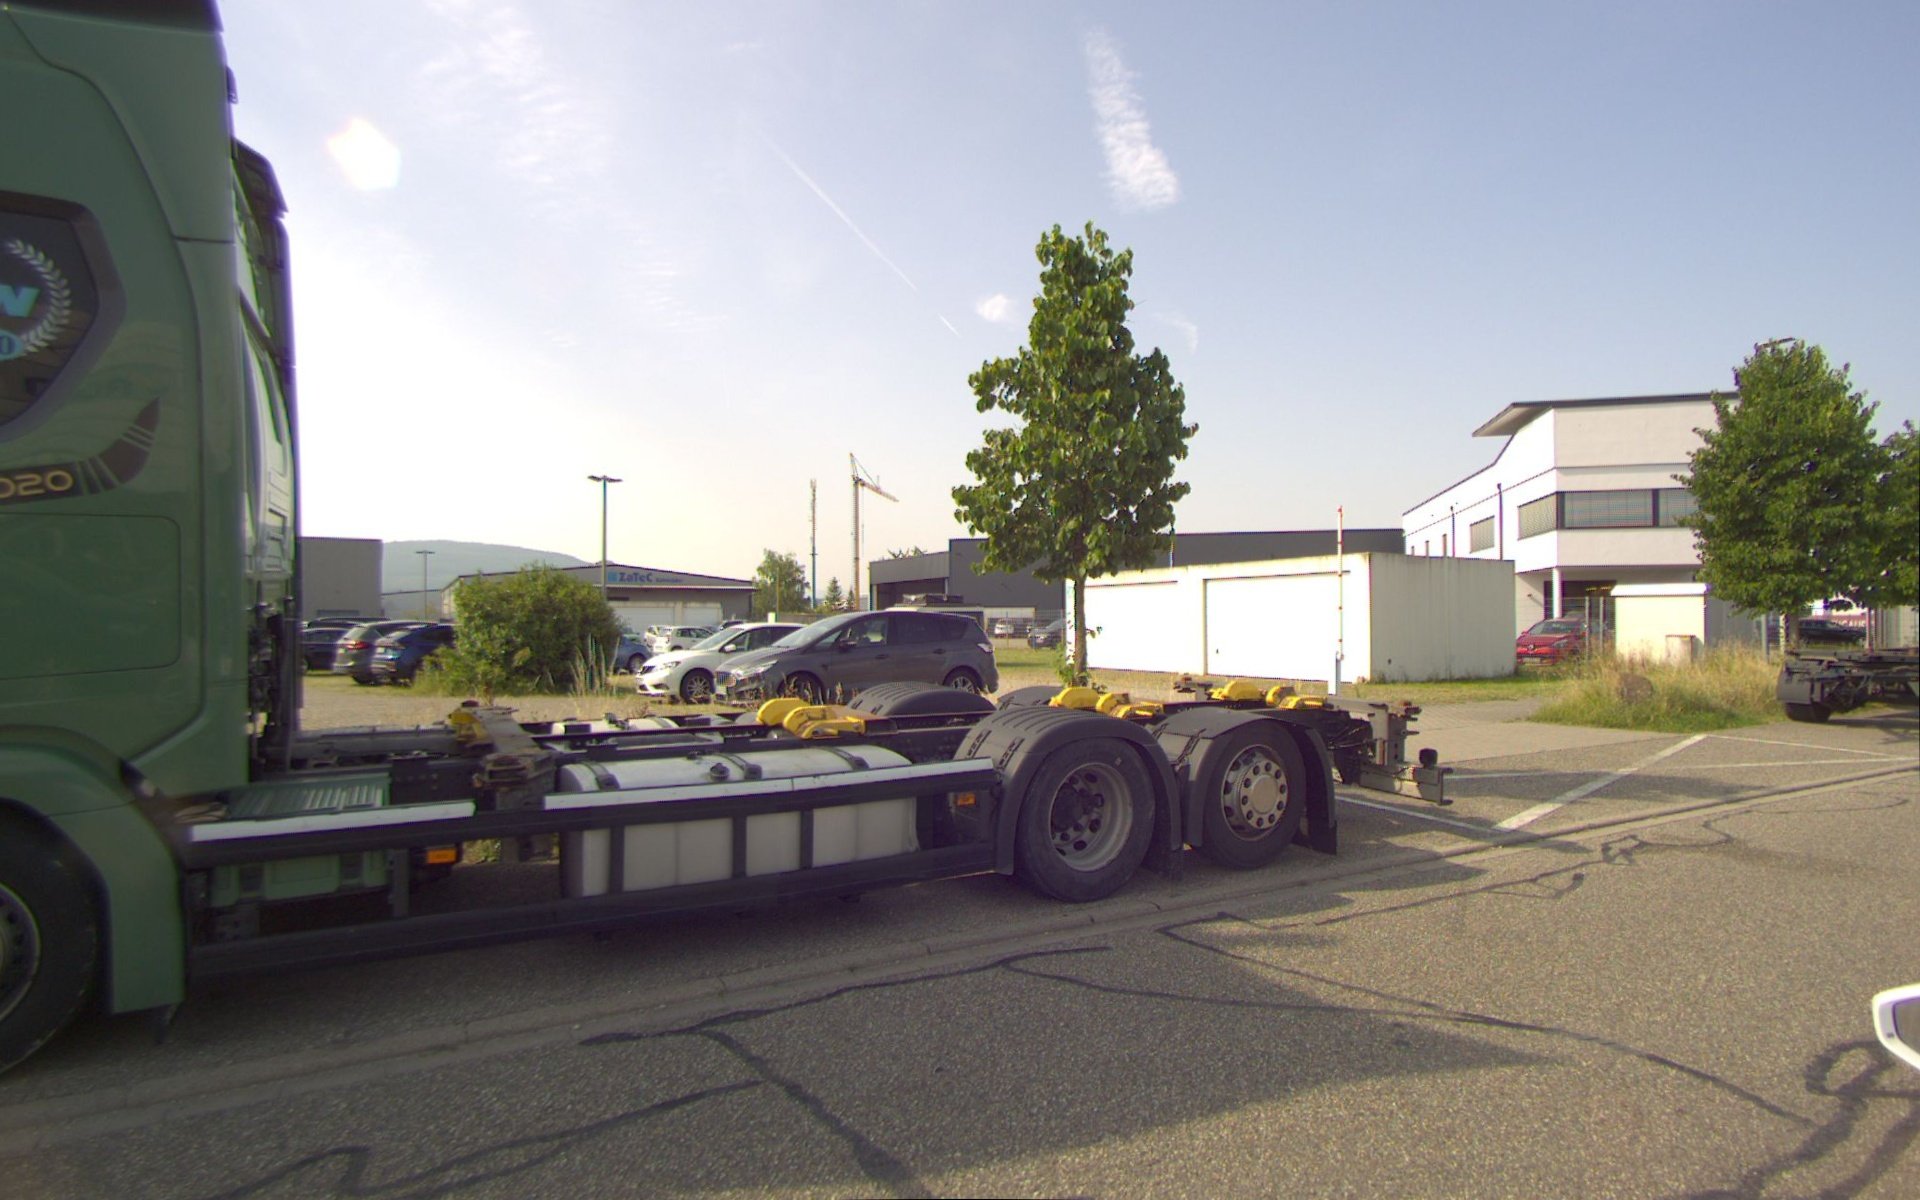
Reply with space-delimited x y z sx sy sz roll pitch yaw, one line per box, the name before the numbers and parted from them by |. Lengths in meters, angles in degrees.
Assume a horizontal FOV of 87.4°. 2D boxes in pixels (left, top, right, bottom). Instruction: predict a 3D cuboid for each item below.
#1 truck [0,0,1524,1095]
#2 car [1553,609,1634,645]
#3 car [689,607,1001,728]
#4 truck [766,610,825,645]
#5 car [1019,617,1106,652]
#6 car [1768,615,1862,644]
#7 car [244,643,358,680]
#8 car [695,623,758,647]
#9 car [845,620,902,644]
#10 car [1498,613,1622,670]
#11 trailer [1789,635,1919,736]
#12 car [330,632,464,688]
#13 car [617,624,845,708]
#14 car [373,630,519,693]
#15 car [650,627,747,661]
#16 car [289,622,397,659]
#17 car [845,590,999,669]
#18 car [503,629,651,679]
truck | -0.805 -0.346 5.831 9.685 3.933 2.444 1 0 -30
car | 27.433 1.161 43.639 1.831 1.507 4.002 0 -1 15
car | -1.808 1.004 16.272 4.647 1.709 1.983 0 -2 -32
truck | -12.166 2.035 74.279 3.946 2.547 1.988 0 -1 -26
car | 5.502 1.817 53.704 4.410 1.751 1.971 0 -1 -35
car | 44.802 1.534 52.699 3.433 1.473 1.598 1 -1 12
car | -19.198 1.773 29.287 2.691 1.007 1.078 1 -3 -40
car | -16.474 2.441 70.855 3.950 1.664 1.858 0 -1 -29
car | -6.602 2.449 76.924 3.948 1.792 1.859 0 -1 -27
car | 18.505 1.236 30.910 4.262 1.545 1.758 -1 -1 -36
trailer | 15.918 1.229 15.776 7.071 1.249 2.120 0 0 -30
car | -14.118 1.474 25.267 1.175 1.331 2.699 -1 -2 42
car | -4.572 1.261 20.218 4.167 1.536 1.696 1 -2 -32
car | -12.126 1.405 23.784 1.175 1.407 2.845 -1 -2 42
car | -12.034 2.031 46.356 4.121 1.500 1.560 2 -2 -42
car | -28.701 1.893 46.871 4.099 1.634 1.834 1 -2 -27
car | -1.247 1.055 35.468 5.419 2.580 2.033 2 -2 -42
car | -11.969 1.648 31.531 3.968 1.461 1.879 1 -1 -41
